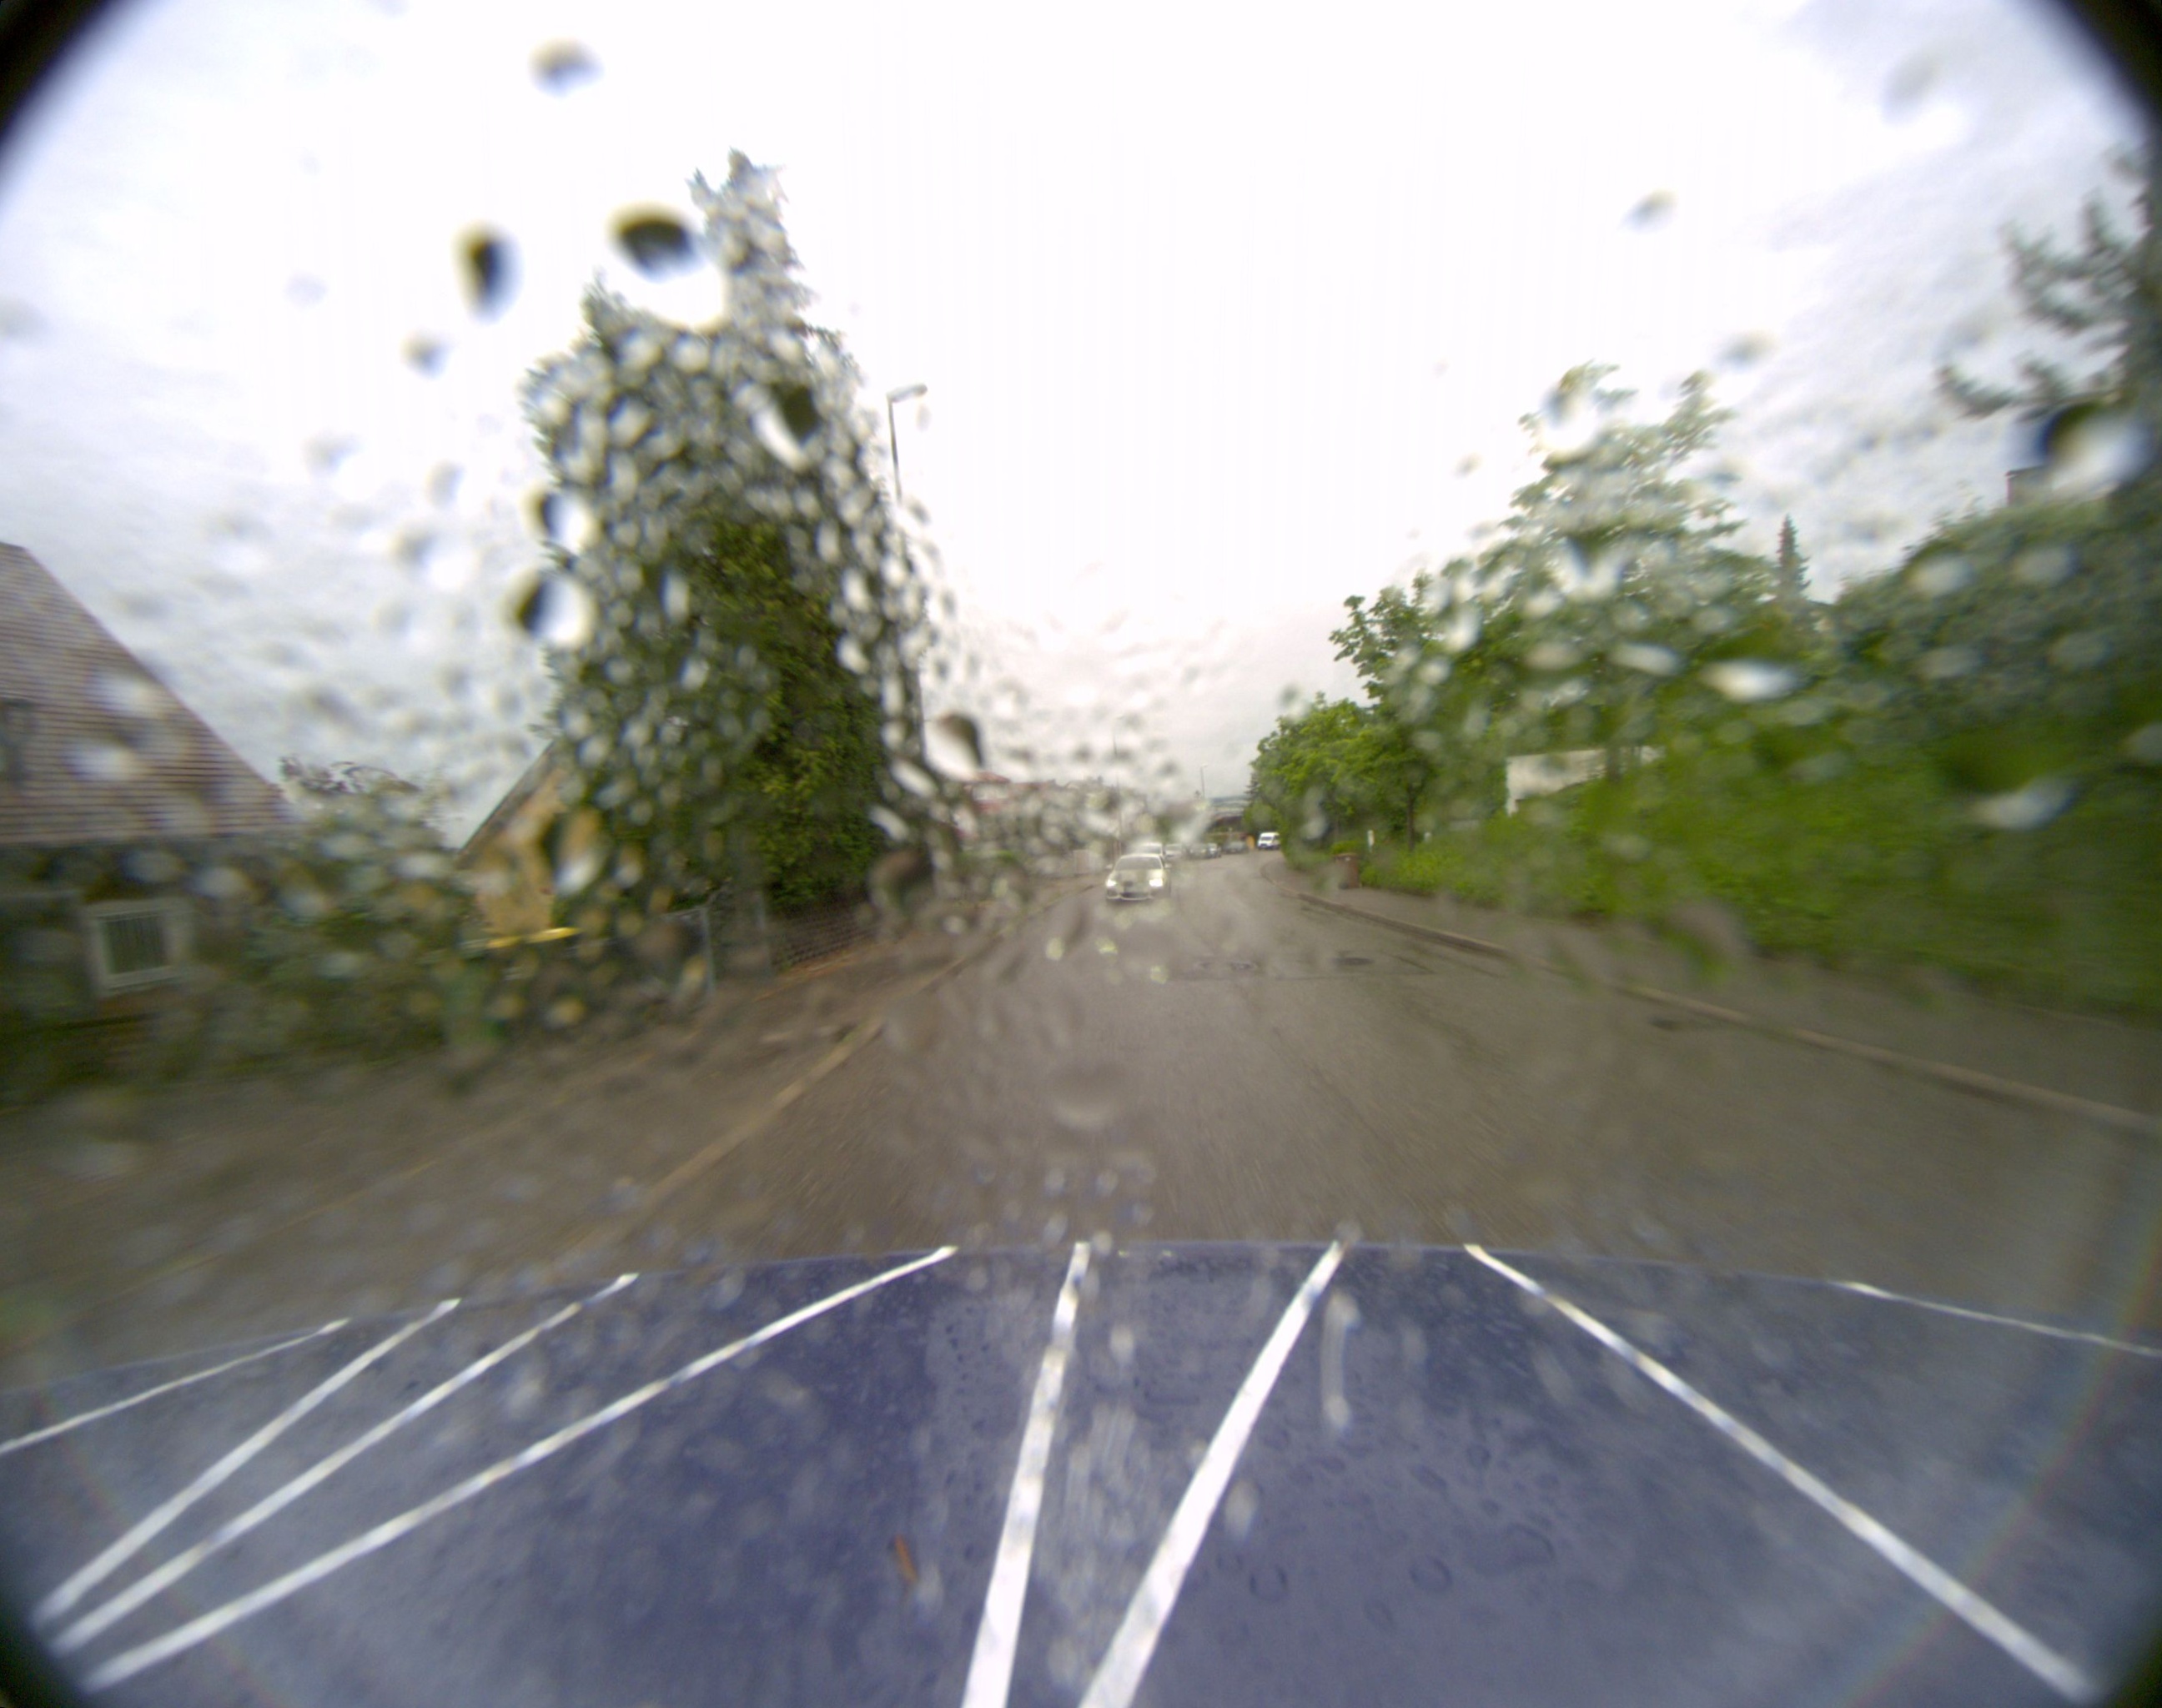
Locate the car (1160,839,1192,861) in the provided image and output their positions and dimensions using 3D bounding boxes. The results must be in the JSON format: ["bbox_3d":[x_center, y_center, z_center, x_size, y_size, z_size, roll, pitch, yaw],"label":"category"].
[{"bbox_3d":[7.574,-0.353,60.378,1.806,1.617,4.292,0,2,17],"label":"car"}]

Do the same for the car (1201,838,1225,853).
[{"bbox_3d":[13.842,-0.884,79.568,1.770,1.459,4.239,0,2,19],"label":"car"}]

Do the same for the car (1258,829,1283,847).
[{"bbox_3d":[27.581,-2.384,110.512,2.074,2.536,6.191,0,2,28],"label":"car"}]

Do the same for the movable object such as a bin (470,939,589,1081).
[{"bbox_3d":[-4.936,1.373,6.828,0.506,1.111,0.594,-6,1,1],"label":"movable object such as a bin"}]

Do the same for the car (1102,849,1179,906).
[{"bbox_3d":[1.890,0.639,23.039,1.796,1.455,4.002,-1,2,12],"label":"car"}]

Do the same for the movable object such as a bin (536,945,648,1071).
[{"bbox_3d":[-4.373,1.363,6.832,0.506,0.964,0.594,-6,1,1],"label":"movable object such as a bin"}]

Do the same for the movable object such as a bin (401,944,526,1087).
[{"bbox_3d":[-5.583,1.440,6.901,0.523,1.131,0.594,-6,1,1],"label":"movable object such as a bin"}]

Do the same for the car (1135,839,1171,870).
[{"bbox_3d":[4.583,-0.022,47.830,1.782,1.793,4.709,-2,1,10],"label":"car"}]

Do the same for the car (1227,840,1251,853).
[{"bbox_3d":[19.426,-0.899,93.409,1.859,1.518,5.071,1,2,24],"label":"car"}]

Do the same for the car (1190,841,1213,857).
[{"bbox_3d":[11.890,-0.540,74.680,1.661,1.459,3.767,0,2,18],"label":"car"}]

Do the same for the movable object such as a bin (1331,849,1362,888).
[{"bbox_3d":[7.932,0.452,22.708,0.695,1.083,0.804,-4,-3,12],"label":"movable object such as a bin"}]
